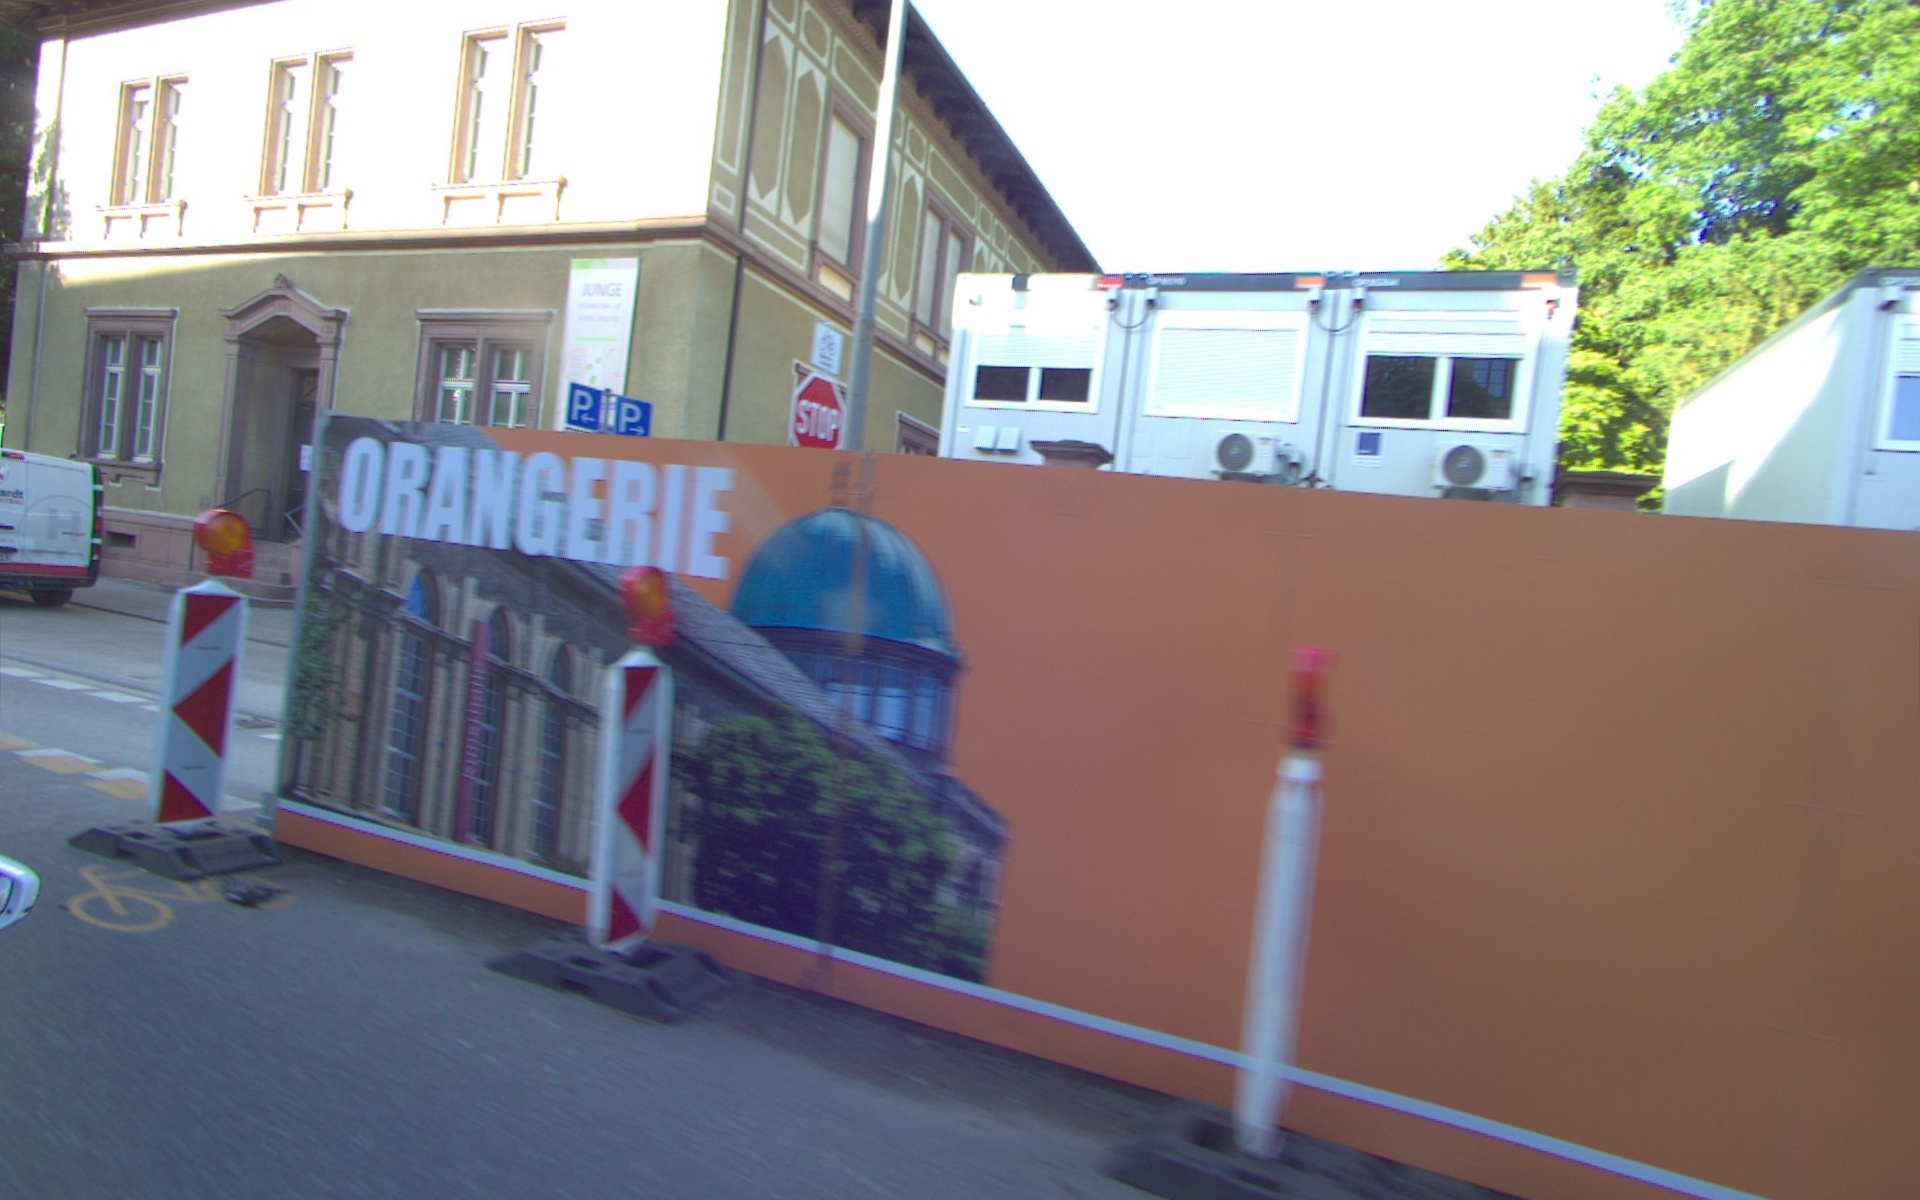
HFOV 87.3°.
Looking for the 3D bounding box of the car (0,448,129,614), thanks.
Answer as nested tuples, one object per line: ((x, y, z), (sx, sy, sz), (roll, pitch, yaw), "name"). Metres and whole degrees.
((-14.101, -1.129, 13.417), (5.379, 1.969, 2.021), (7, 0, 19), "car")
